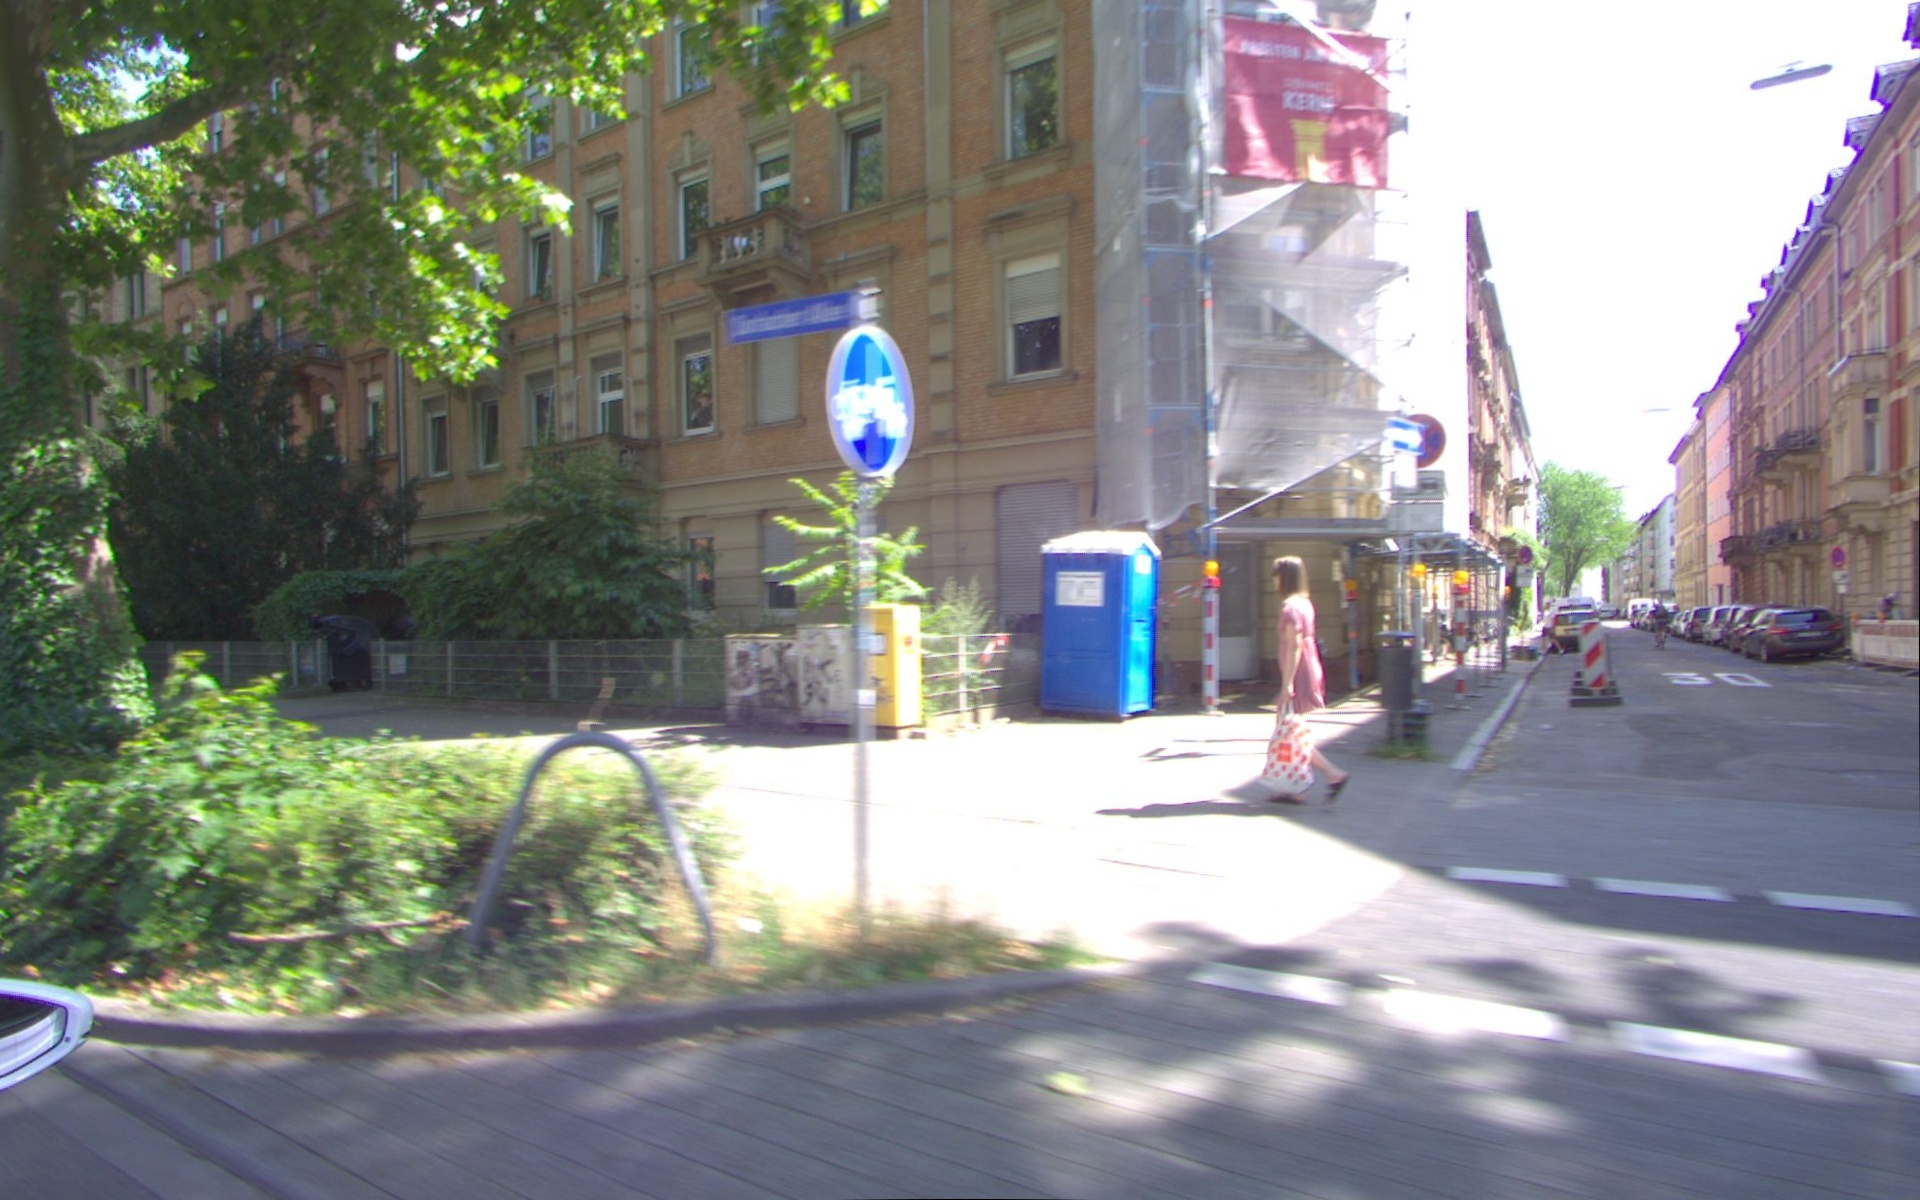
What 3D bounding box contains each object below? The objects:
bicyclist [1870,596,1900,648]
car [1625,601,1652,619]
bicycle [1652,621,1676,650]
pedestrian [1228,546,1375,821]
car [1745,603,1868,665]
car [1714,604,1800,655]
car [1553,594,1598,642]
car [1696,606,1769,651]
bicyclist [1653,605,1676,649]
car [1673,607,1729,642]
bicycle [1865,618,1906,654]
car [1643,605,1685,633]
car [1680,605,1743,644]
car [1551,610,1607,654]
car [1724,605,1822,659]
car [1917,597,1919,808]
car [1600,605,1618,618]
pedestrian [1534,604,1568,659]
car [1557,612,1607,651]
[{"bbox_3d":[26.323,0.629,28.507,0.525,1.472,0.459,-1,0,29],"label":"bicyclist"},{"bbox_3d":[67.082,0.986,99.060,1.971,1.761,3.980,-1,-1,32],"label":"car"},{"bbox_3d":[26.592,1.319,37.830,0.525,1.062,1.917,-1,-1,30],"label":"bicycle"},{"bbox_3d":[2.436,0.561,7.130,0.840,1.808,0.734,-1,0,32],"label":"pedestrian"},{"bbox_3d":[23.220,0.894,27.621,1.971,1.572,3.980,-1,-1,32],"label":"car"},{"bbox_3d":[29.245,1.049,36.862,1.971,1.761,3.980,-1,-1,32],"label":"car"},{"bbox_3d":[31.813,0.922,51.707,1.887,2.404,4.224,-1,-1,33],"label":"car"},{"bbox_3d":[32.036,1.157,41.646,1.971,1.761,3.980,-1,-1,32],"label":"car"},{"bbox_3d":[26.548,1.011,37.746,0.615,1.644,0.691,-1,0,31],"label":"bicyclist"},{"bbox_3d":[38.241,1.237,51.746,1.971,1.761,3.980,-1,-1,32],"label":"car"},{"bbox_3d":[26.303,1.008,28.471,0.530,0.991,1.304,-1,-1,28],"label":"bicycle"},{"bbox_3d":[46.642,1.233,66.406,1.971,1.761,3.980,-1,-1,32],"label":"car"},{"bbox_3d":[35.327,1.147,47.185,1.971,1.761,3.980,-1,-1,32],"label":"car"},{"bbox_3d":[23.107,1.179,37.450,1.703,1.549,3.478,-1,-1,31],"label":"car"},{"bbox_3d":[26.612,1.009,32.910,1.971,1.661,3.980,-1,-1,32],"label":"car"},{"bbox_3d":[6.748,0.661,4.544,1.854,1.428,4.086,-1,-1,18],"label":"car"},{"bbox_3d":[91.067,1.593,140.546,1.971,1.761,3.980,-1,-1,32],"label":"car"},{"bbox_3d":[20.173,1.075,34.198,0.922,1.822,1.034,-1,0,29],"label":"pedestrian"},{"bbox_3d":[26.144,1.309,42.170,1.703,1.549,3.478,-1,-1,31],"label":"car"}]
